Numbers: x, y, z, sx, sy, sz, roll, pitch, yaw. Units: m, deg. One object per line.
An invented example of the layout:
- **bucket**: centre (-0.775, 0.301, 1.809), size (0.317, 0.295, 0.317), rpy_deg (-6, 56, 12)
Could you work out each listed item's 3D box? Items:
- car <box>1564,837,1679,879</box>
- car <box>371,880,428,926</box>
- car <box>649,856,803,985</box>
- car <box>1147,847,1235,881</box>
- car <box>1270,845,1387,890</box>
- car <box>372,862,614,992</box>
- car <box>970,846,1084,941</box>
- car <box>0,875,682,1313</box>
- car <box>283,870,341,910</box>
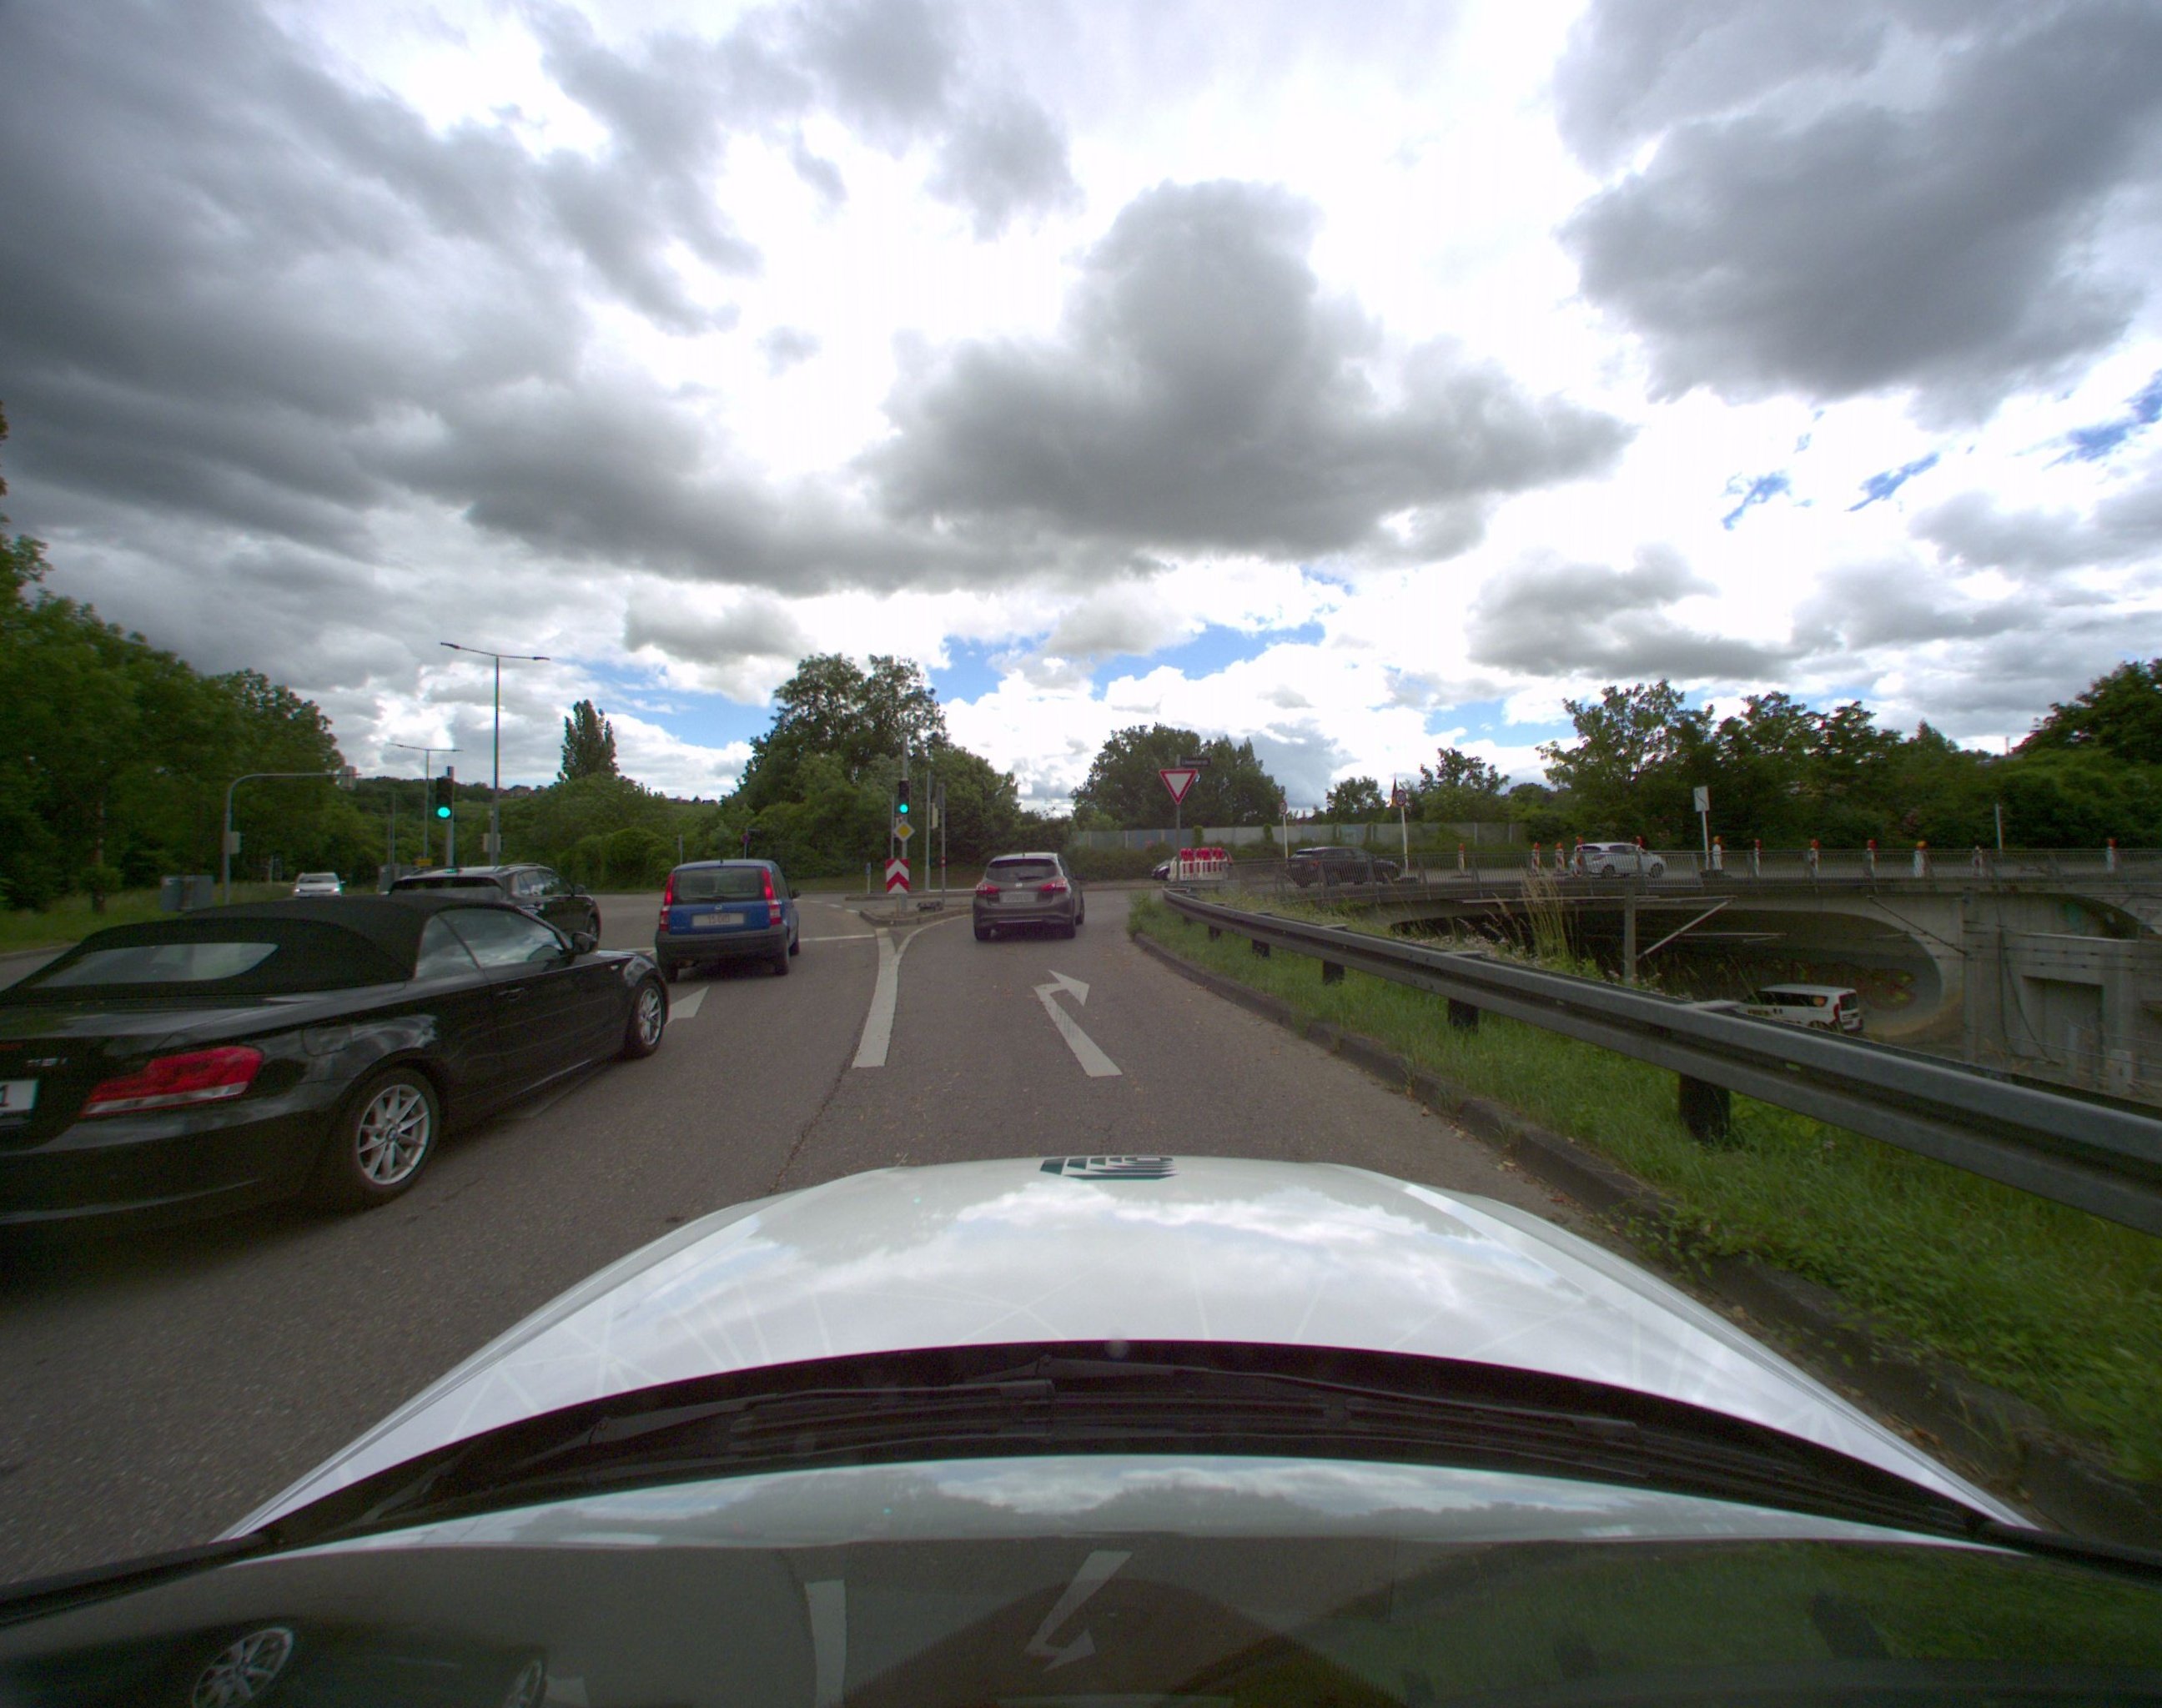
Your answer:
- **car**: centre (22.379, 0.178, 33.743), size (3.992, 1.675, 1.709), rpy_deg (0, -1, -14)
- **car**: centre (-34.932, 2.441, 41.687), size (1.946, 1.994, 4.270), rpy_deg (2, 1, -44)
- **car**: centre (-4.906, 0.805, 11.659), size (1.546, 1.507, 3.361), rpy_deg (-2, 0, -16)
- **car**: centre (5.227, 0.485, 38.828), size (3.779, 1.552, 1.636), rpy_deg (-1, -2, -13)
- **car**: centre (9.038, 0.497, 29.773), size (3.788, 1.552, 1.813), rpy_deg (2, 0, -20)
- **car**: centre (-8.577, 0.941, 12.295), size (1.659, 1.507, 3.750), rpy_deg (-4, 1, -15)
- **car**: centre (-0.902, 0.665, 15.694), size (1.791, 1.552, 4.001), rpy_deg (-2, 0, 1)
- **car**: centre (-4.033, 0.911, 4.879), size (1.561, 1.368, 4.075), rpy_deg (-2, 1, -6)
- **car**: centre (-40.041, 1.831, 42.435), size (2.095, 1.759, 4.270), rpy_deg (2, 1, -44)
